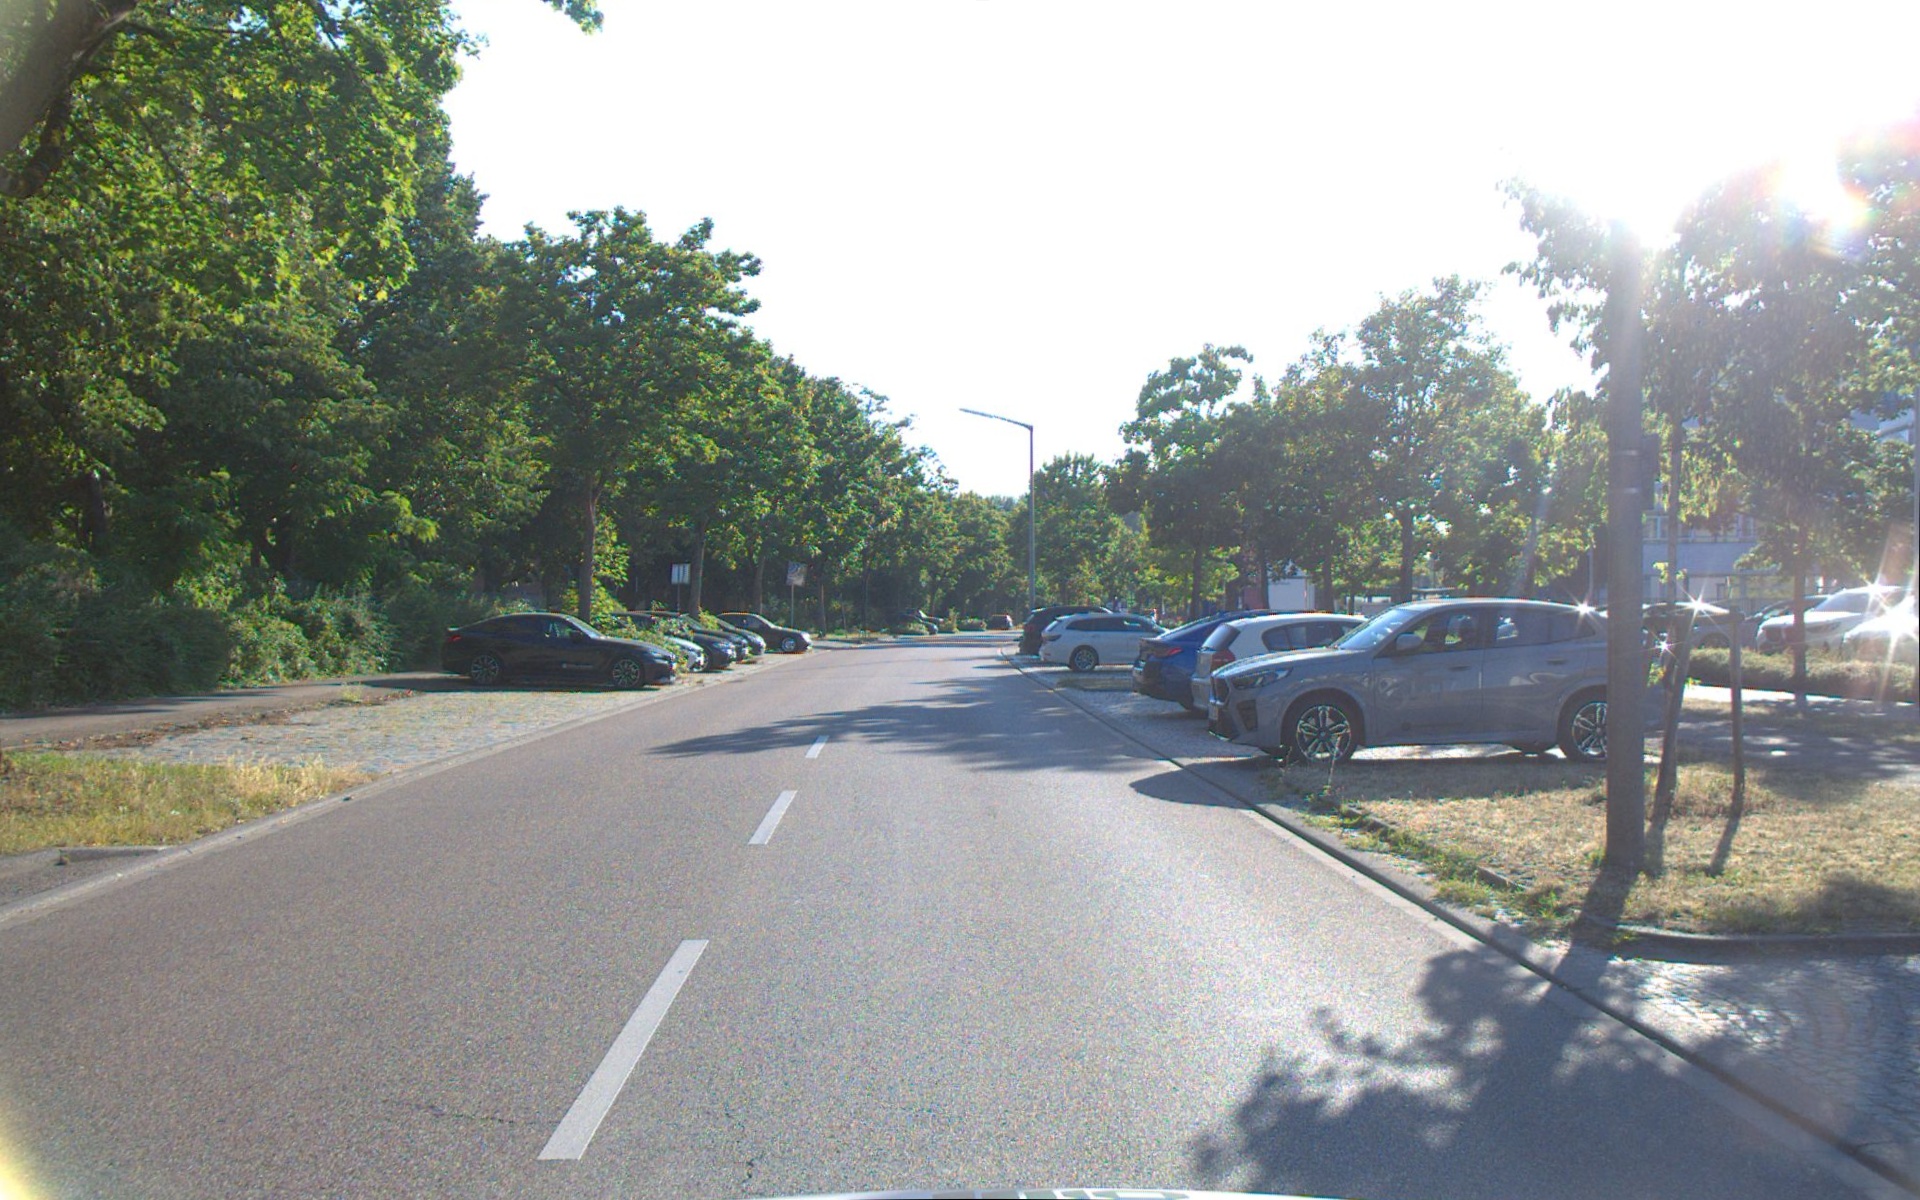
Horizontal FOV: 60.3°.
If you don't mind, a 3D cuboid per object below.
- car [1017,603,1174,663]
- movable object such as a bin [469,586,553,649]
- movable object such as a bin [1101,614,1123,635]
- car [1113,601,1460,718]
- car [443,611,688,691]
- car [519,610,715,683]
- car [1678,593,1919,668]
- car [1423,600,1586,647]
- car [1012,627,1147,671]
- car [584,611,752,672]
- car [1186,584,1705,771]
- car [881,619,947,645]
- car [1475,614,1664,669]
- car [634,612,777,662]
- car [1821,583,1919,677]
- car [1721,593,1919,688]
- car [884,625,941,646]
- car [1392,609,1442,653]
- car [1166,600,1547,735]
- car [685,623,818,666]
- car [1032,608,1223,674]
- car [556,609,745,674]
[{"bbox_3d":[4.063,0.979,49.852,4.596,1.782,2.192,0,-1,3],"label":"car"},{"bbox_3d":[-20.218,0.801,74.385,2.140,2.711,4.743,1,-1,-36],"label":"movable object such as a bin"},{"bbox_3d":[22.999,3.681,250.192,2.778,3.122,4.931,2,-1,9],"label":"movable object such as a bin"},{"bbox_3d":[4.585,0.833,23.731,4.531,1.482,1.999,-2,-1,-1],"label":"car"},{"bbox_3d":[-8.004,1.028,33.916,4.556,1.446,1.915,2,-1,-3],"label":"car"},{"bbox_3d":[-8.106,1.096,39.384,4.199,1.557,2.000,2,-1,0],"label":"car"},{"bbox_3d":[19.378,0.702,37.802,1.986,1.599,5.105,1,-1,-45],"label":"car"},{"bbox_3d":[17.770,0.787,54.093,4.701,1.489,1.989,-1,-1,41],"label":"car"},{"bbox_3d":[4.001,1.637,55.774,4.390,1.428,2.033,0,-1,-1],"label":"car"},{"bbox_3d":[-8.292,1.165,47.302,4.388,1.557,1.999,2,-1,-1],"label":"car"},{"bbox_3d":[4.683,0.727,16.403,4.500,1.612,1.998,-1,-1,-4],"label":"car"},{"bbox_3d":[-3.560,2.502,129.672,4.898,2.055,2.176,0,-1,6],"label":"car"},{"bbox_3d":[17.404,1.173,47.407,1.986,1.489,4.710,1,-1,-45],"label":"car"},{"bbox_3d":[-8.419,1.231,54.979,4.388,1.488,1.999,2,-1,-1],"label":"car"},{"bbox_3d":[17.930,0.510,29.898,4.537,1.602,1.982,0,-1,-28],"label":"car"},{"bbox_3d":[17.759,0.759,32.956,4.660,1.720,2.389,-1,-1,-28],"label":"car"},{"bbox_3d":[-3.589,2.692,125.810,4.122,1.557,1.706,0,-1,6],"label":"car"},{"bbox_3d":[19.938,1.340,72.225,1.988,1.860,4.979,0,-1,15],"label":"car"},{"bbox_3d":[4.896,0.824,20.902,4.287,1.505,1.999,-2,-1,-1],"label":"car"},{"bbox_3d":[-8.115,1.735,64.714,4.932,1.488,1.999,2,-1,-1],"label":"car"},{"bbox_3d":[4.223,1.033,42.210,4.600,1.505,1.999,-2,-1,-1],"label":"car"},{"bbox_3d":[-8.267,1.109,44.585,4.754,1.557,1.998,2,-1,-4],"label":"car"}]
